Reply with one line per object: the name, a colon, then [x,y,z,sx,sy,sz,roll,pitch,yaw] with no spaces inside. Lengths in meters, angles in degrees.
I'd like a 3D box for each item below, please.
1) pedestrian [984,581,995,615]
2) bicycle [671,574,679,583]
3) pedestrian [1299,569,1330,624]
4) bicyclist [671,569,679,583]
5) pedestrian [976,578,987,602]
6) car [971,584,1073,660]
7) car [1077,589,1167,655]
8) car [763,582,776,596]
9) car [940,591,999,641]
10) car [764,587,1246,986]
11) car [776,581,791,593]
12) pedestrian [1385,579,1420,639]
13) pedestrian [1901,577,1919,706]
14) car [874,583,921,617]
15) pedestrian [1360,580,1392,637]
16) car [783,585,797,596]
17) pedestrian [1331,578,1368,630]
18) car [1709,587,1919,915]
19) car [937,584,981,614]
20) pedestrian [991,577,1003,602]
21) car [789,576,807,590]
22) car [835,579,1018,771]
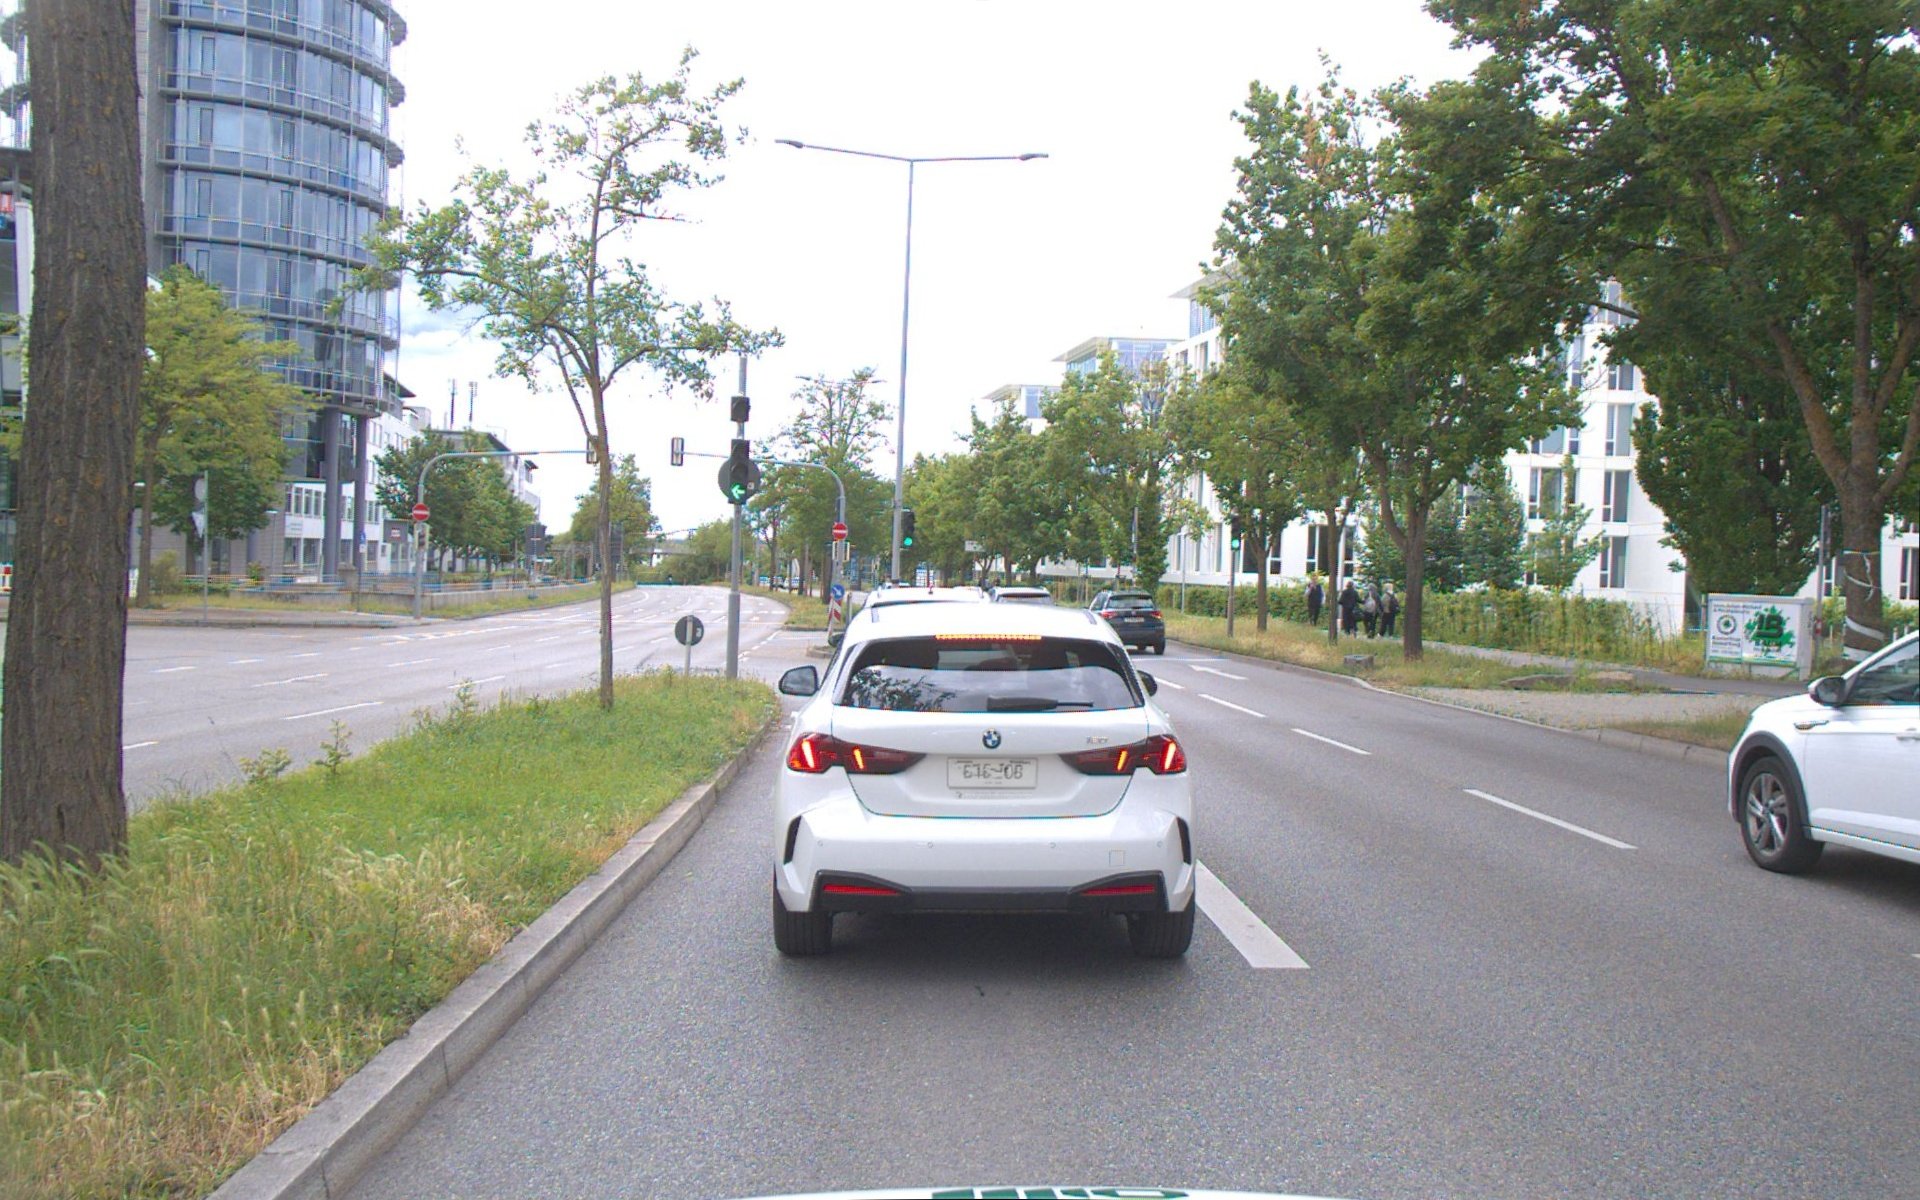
pedestrian: [2.376,-0.156,132.917,0.814,2.673,0.646,1,0,-1]
bicycle: [-36.632,-2.746,212.561,0.796,1.123,2.547,1,0,-14]
pedestrian: [10.516,-0.091,49.096,0.726,1.601,0.674,1,-1,-2]
bicyclist: [-36.644,-3.086,212.651,0.796,1.681,1.184,1,0,-14]
pedestrian: [1.823,-0.858,139.807,0.749,2.049,0.751,1,-1,-16]
car: [1.347,0.461,37.513,1.818,1.624,4.309,0,0,-5]
car: [3.977,0.518,41.242,1.624,1.539,3.997,1,0,-3]
car: [-25.502,-1.470,221.412,1.663,1.747,3.994,1,0,-7]
car: [0.280,0.483,52.424,1.574,1.494,3.672,1,0,-4]
car: [0.144,0.697,8.235,1.785,1.463,3.999,1,0,-1]
car: [-26.106,-1.881,244.312,1.957,1.763,3.991,1,0,-10]
pedestrian: [12.960,0.266,48.498,0.751,1.715,0.883,1,-1,-2]
pedestrian: [13.019,0.552,21.680,0.779,1.689,1.060,1,0,5]
car: [-3.152,-0.028,82.208,1.856,1.623,4.305,1,0,-9]
pedestrian: [12.182,0.252,48.465,0.685,1.623,0.883,1,-1,-2]
car: [-22.711,-1.287,221.179,1.661,1.512,3.686,1,0,-9]
pedestrian: [11.413,0.121,48.463,0.773,1.473,1.111,1,0,-2]
car: [5.484,0.740,8.024,1.681,1.583,4.087,1,0,-3]
car: [-0.066,-0.066,80.753,1.623,1.450,3.528,0,0,-9]
pedestrian: [3.104,-0.851,138.162,0.835,2.049,0.603,1,0,-16]
car: [-19.235,-1.994,196.451,1.956,1.699,3.993,0,0,-8]
car: [-0.313,0.631,16.106,1.518,1.596,3.999,1,0,-1]
